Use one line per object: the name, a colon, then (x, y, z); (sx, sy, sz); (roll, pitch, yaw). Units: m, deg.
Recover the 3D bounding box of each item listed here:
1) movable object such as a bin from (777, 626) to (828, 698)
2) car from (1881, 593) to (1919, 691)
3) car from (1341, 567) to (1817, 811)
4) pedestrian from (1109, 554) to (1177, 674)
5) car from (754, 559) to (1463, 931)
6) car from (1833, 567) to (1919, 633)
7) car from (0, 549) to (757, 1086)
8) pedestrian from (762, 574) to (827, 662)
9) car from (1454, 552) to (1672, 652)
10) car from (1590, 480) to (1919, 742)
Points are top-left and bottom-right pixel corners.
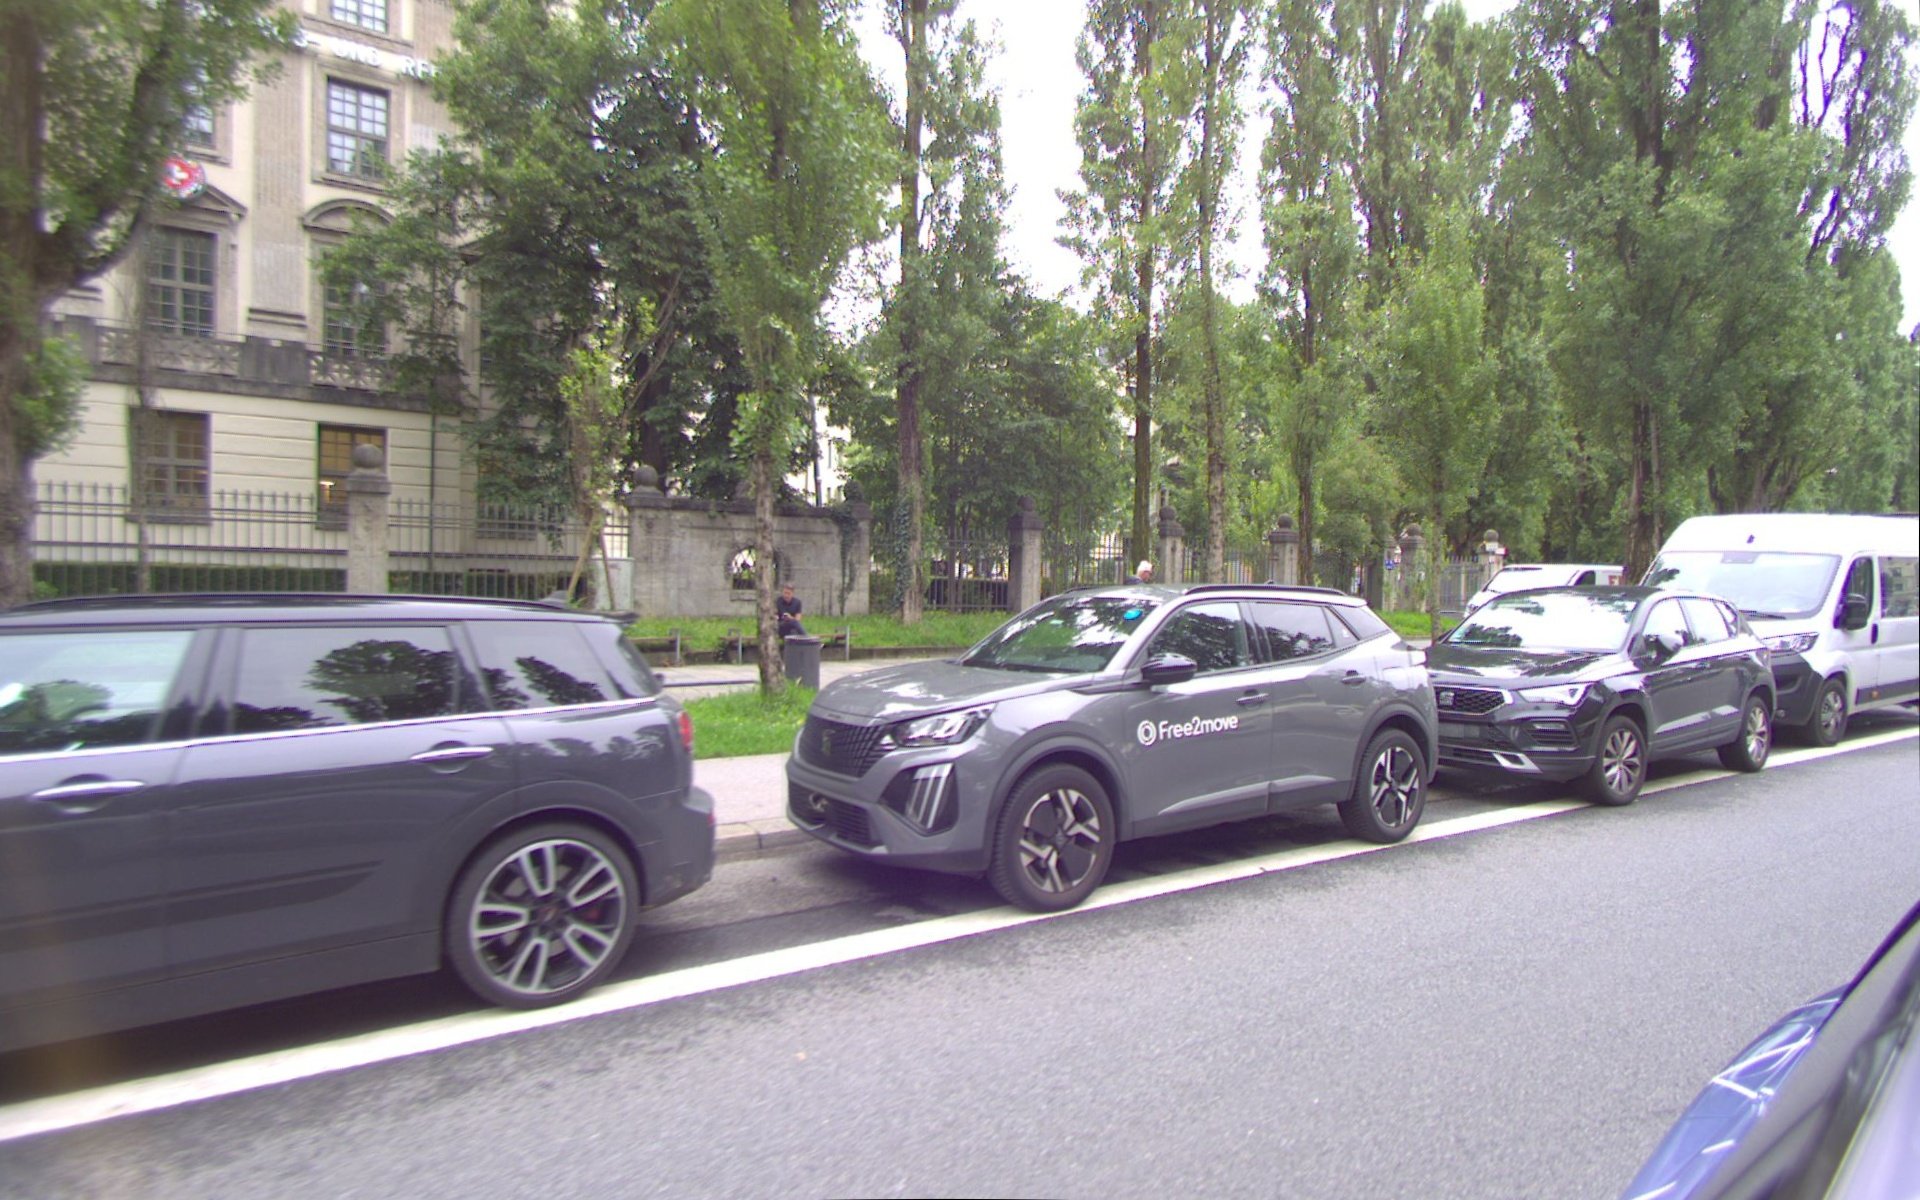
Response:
movable object such as a bin: (-1.834, 0.712, 11.763); (0.468, 0.780, 0.490); (0, 1, -23)
car: (16.202, 0.632, 15.791); (3.922, 1.468, 1.760); (0, -1, -33)
car: (5.326, 0.570, 8.570); (4.141, 1.610, 1.828); (0, 1, -33)
pedestrian: (2.656, 0.190, 14.715); (0.620, 1.680, 0.718); (1, 0, -33)
car: (1.014, 0.584, 5.936); (4.033, 1.522, 1.657); (0, 0, -33)
car: (29.682, 0.001, 32.068); (4.791, 1.969, 1.887); (0, 0, -34)
car: (-2.938, 0.597, 3.537); (4.068, 1.464, 1.639); (0, -1, -33)
pedestrian: (-2.546, 0.260, 15.538); (0.658, 1.259, 0.883); (1, 3, -33)
car: (13.188, 0.005, 22.047); (4.983, 1.970, 2.002); (0, 2, -32)
car: (10.281, 0.099, 12.235); (6.161, 2.510, 2.082); (0, 0, -33)
